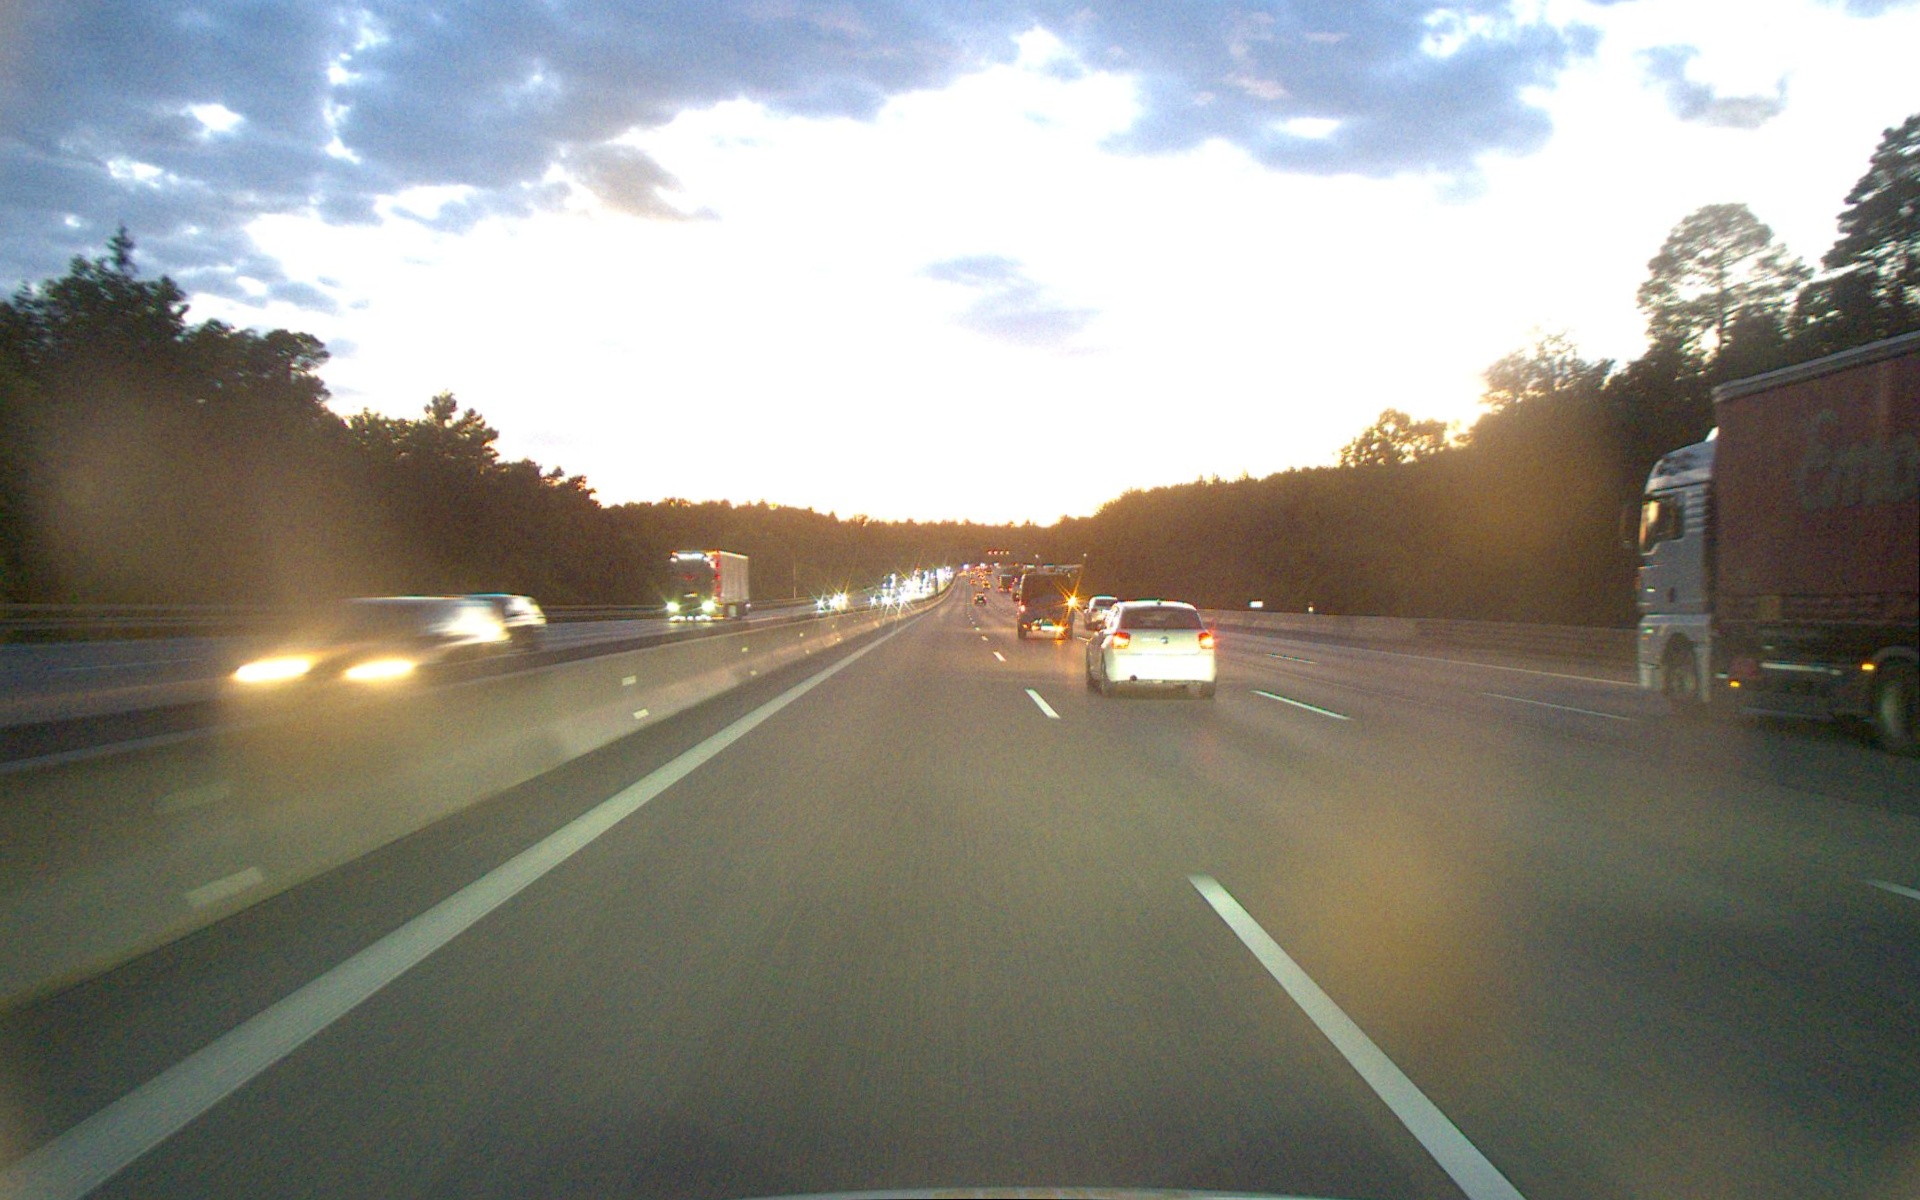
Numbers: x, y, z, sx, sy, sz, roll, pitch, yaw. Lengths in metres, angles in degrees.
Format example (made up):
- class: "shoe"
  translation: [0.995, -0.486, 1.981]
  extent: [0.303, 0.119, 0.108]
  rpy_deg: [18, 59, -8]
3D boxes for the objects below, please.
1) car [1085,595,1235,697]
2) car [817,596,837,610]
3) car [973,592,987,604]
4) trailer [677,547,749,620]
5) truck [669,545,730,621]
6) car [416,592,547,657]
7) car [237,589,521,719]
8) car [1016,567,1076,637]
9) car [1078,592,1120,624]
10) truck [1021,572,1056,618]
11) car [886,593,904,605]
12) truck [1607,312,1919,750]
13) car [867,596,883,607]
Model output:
- class: "car"
  translation: [3.072, 0.695, 26.140]
  extent: [1.821, 1.467, 3.719]
  rpy_deg: [1, -1, -2]
- class: "car"
  translation: [-14.513, 0.297, 180.714]
  extent: [1.873, 1.449, 4.745]
  rpy_deg: [0, 0, -2]
- class: "car"
  translation: [2.796, -0.312, 229.338]
  extent: [1.798, 1.598, 4.001]
  rpy_deg: [0, 0, 2]
- class: "trailer"
  translation: [-15.092, -0.969, 101.941]
  extent: [2.596, 4.204, 14.322]
  rpy_deg: [0, 0, -1]
- class: "truck"
  translation: [-14.921, -0.952, 95.065]
  extent: [2.596, 4.204, 6.522]
  rpy_deg: [0, 0, -1]
- class: "car"
  translation: [-11.303, 0.542, 39.408]
  extent: [1.740, 1.426, 4.938]
  rpy_deg: [1, 0, -1]
- class: "car"
  translation: [-7.078, 0.600, 20.722]
  extent: [1.953, 1.426, 4.686]
  rpy_deg: [1, 0, -1]
- class: "car"
  translation: [3.133, 0.055, 61.052]
  extent: [2.120, 2.461, 5.565]
  rpy_deg: [0, 0, 2]
- class: "car"
  translation: [7.075, 0.403, 84.661]
  extent: [1.966, 1.565, 4.001]
  rpy_deg: [0, 0, 2]
- class: "truck"
  translation: [10.310, -0.636, 218.805]
  extent: [4.064, 5.959, 14.297]
  rpy_deg: [0, 0, 1]
- class: "car"
  translation: [-7.696, -0.101, 196.183]
  extent: [1.952, 1.449, 5.145]
  rpy_deg: [0, 0, 0]
- class: "truck"
  translation: [10.546, -0.656, 17.810]
  extent: [2.826, 4.172, 10.830]
  rpy_deg: [0, 0, -1]
- class: "car"
  translation: [-11.301, 0.221, 219.857]
  extent: [1.811, 1.438, 4.790]
  rpy_deg: [0, 0, 0]
